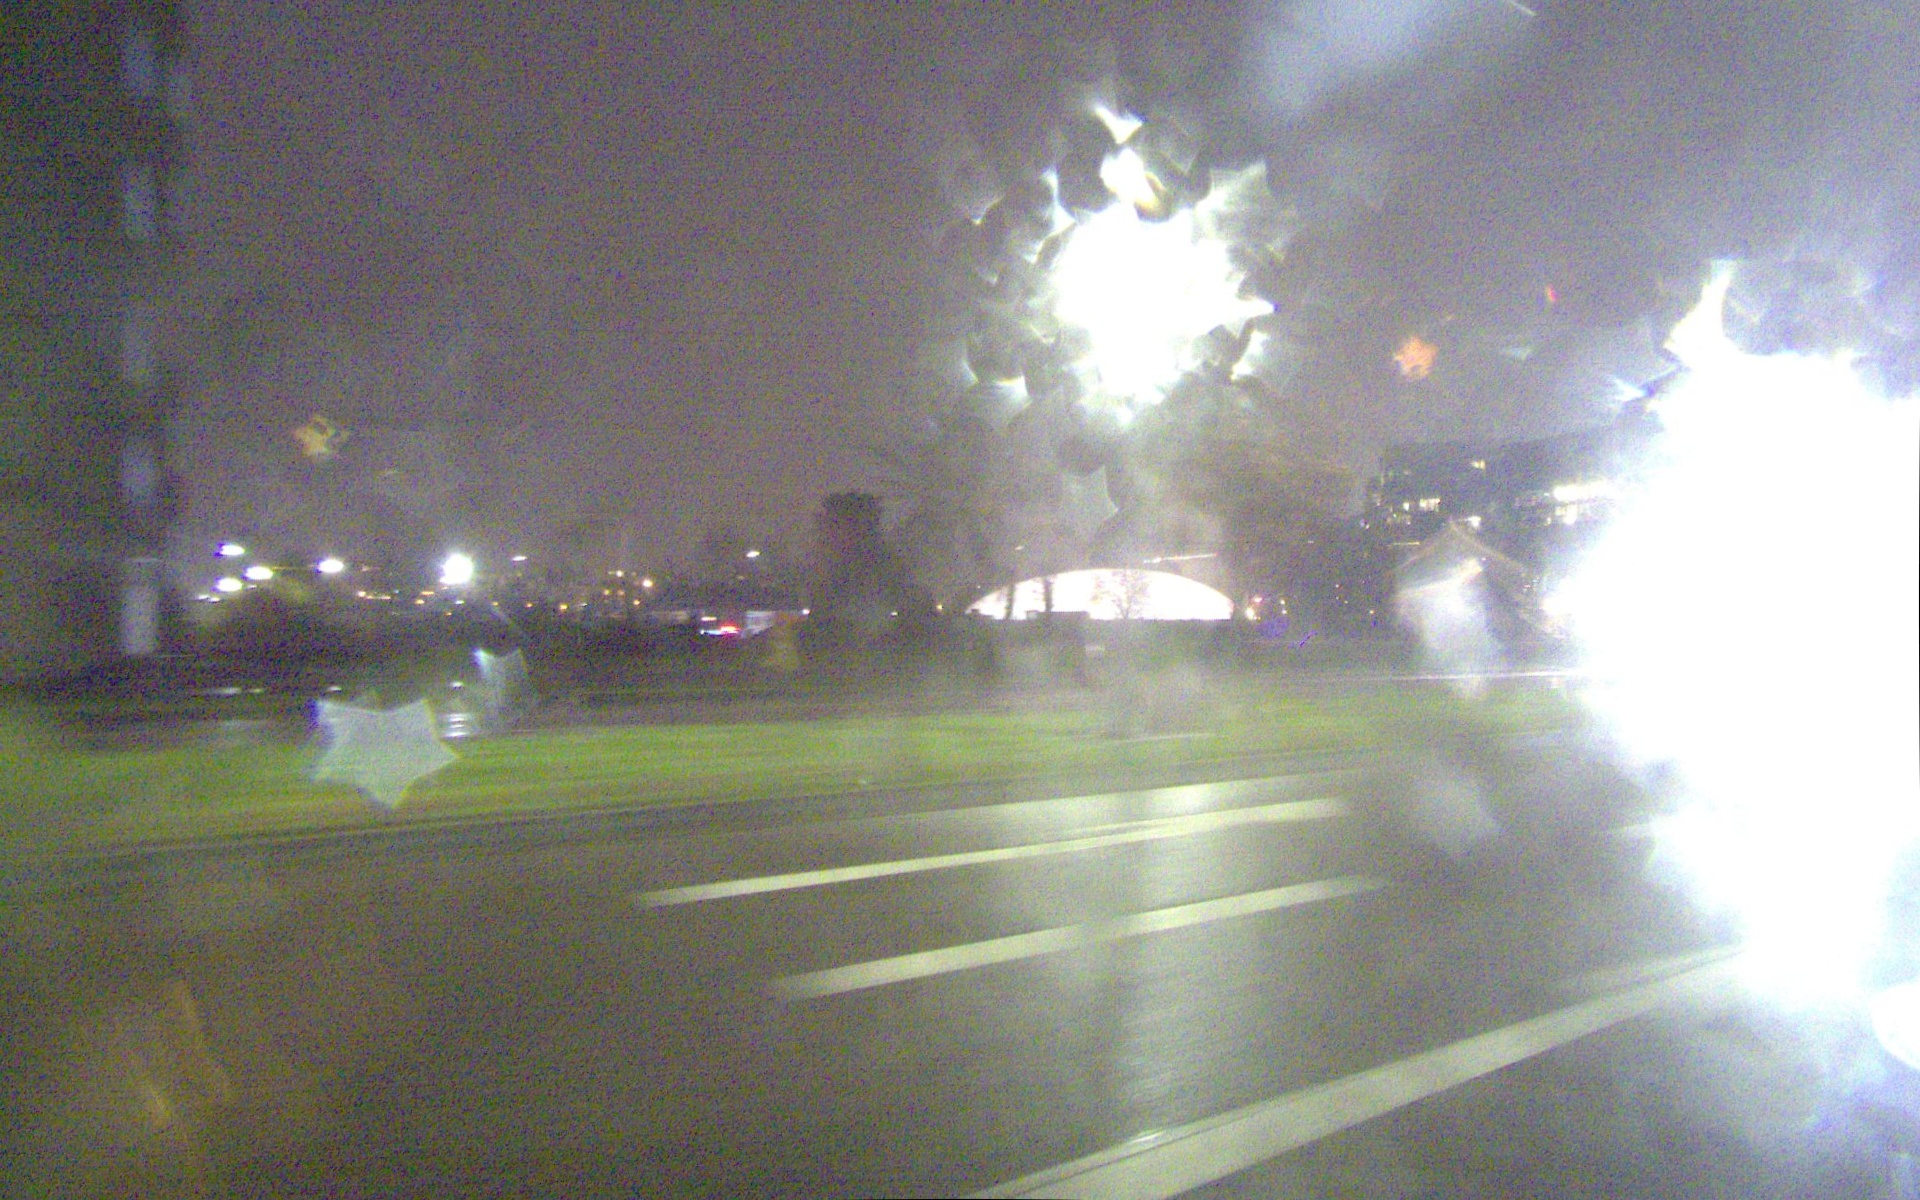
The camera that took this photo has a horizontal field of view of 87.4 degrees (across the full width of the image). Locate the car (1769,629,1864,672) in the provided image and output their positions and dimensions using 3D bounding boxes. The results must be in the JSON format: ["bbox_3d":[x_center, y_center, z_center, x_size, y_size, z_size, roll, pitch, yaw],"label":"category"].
[{"bbox_3d":[37.286,2.164,43.724,4.388,1.736,1.820,1,0,-30],"label":"car"}]
